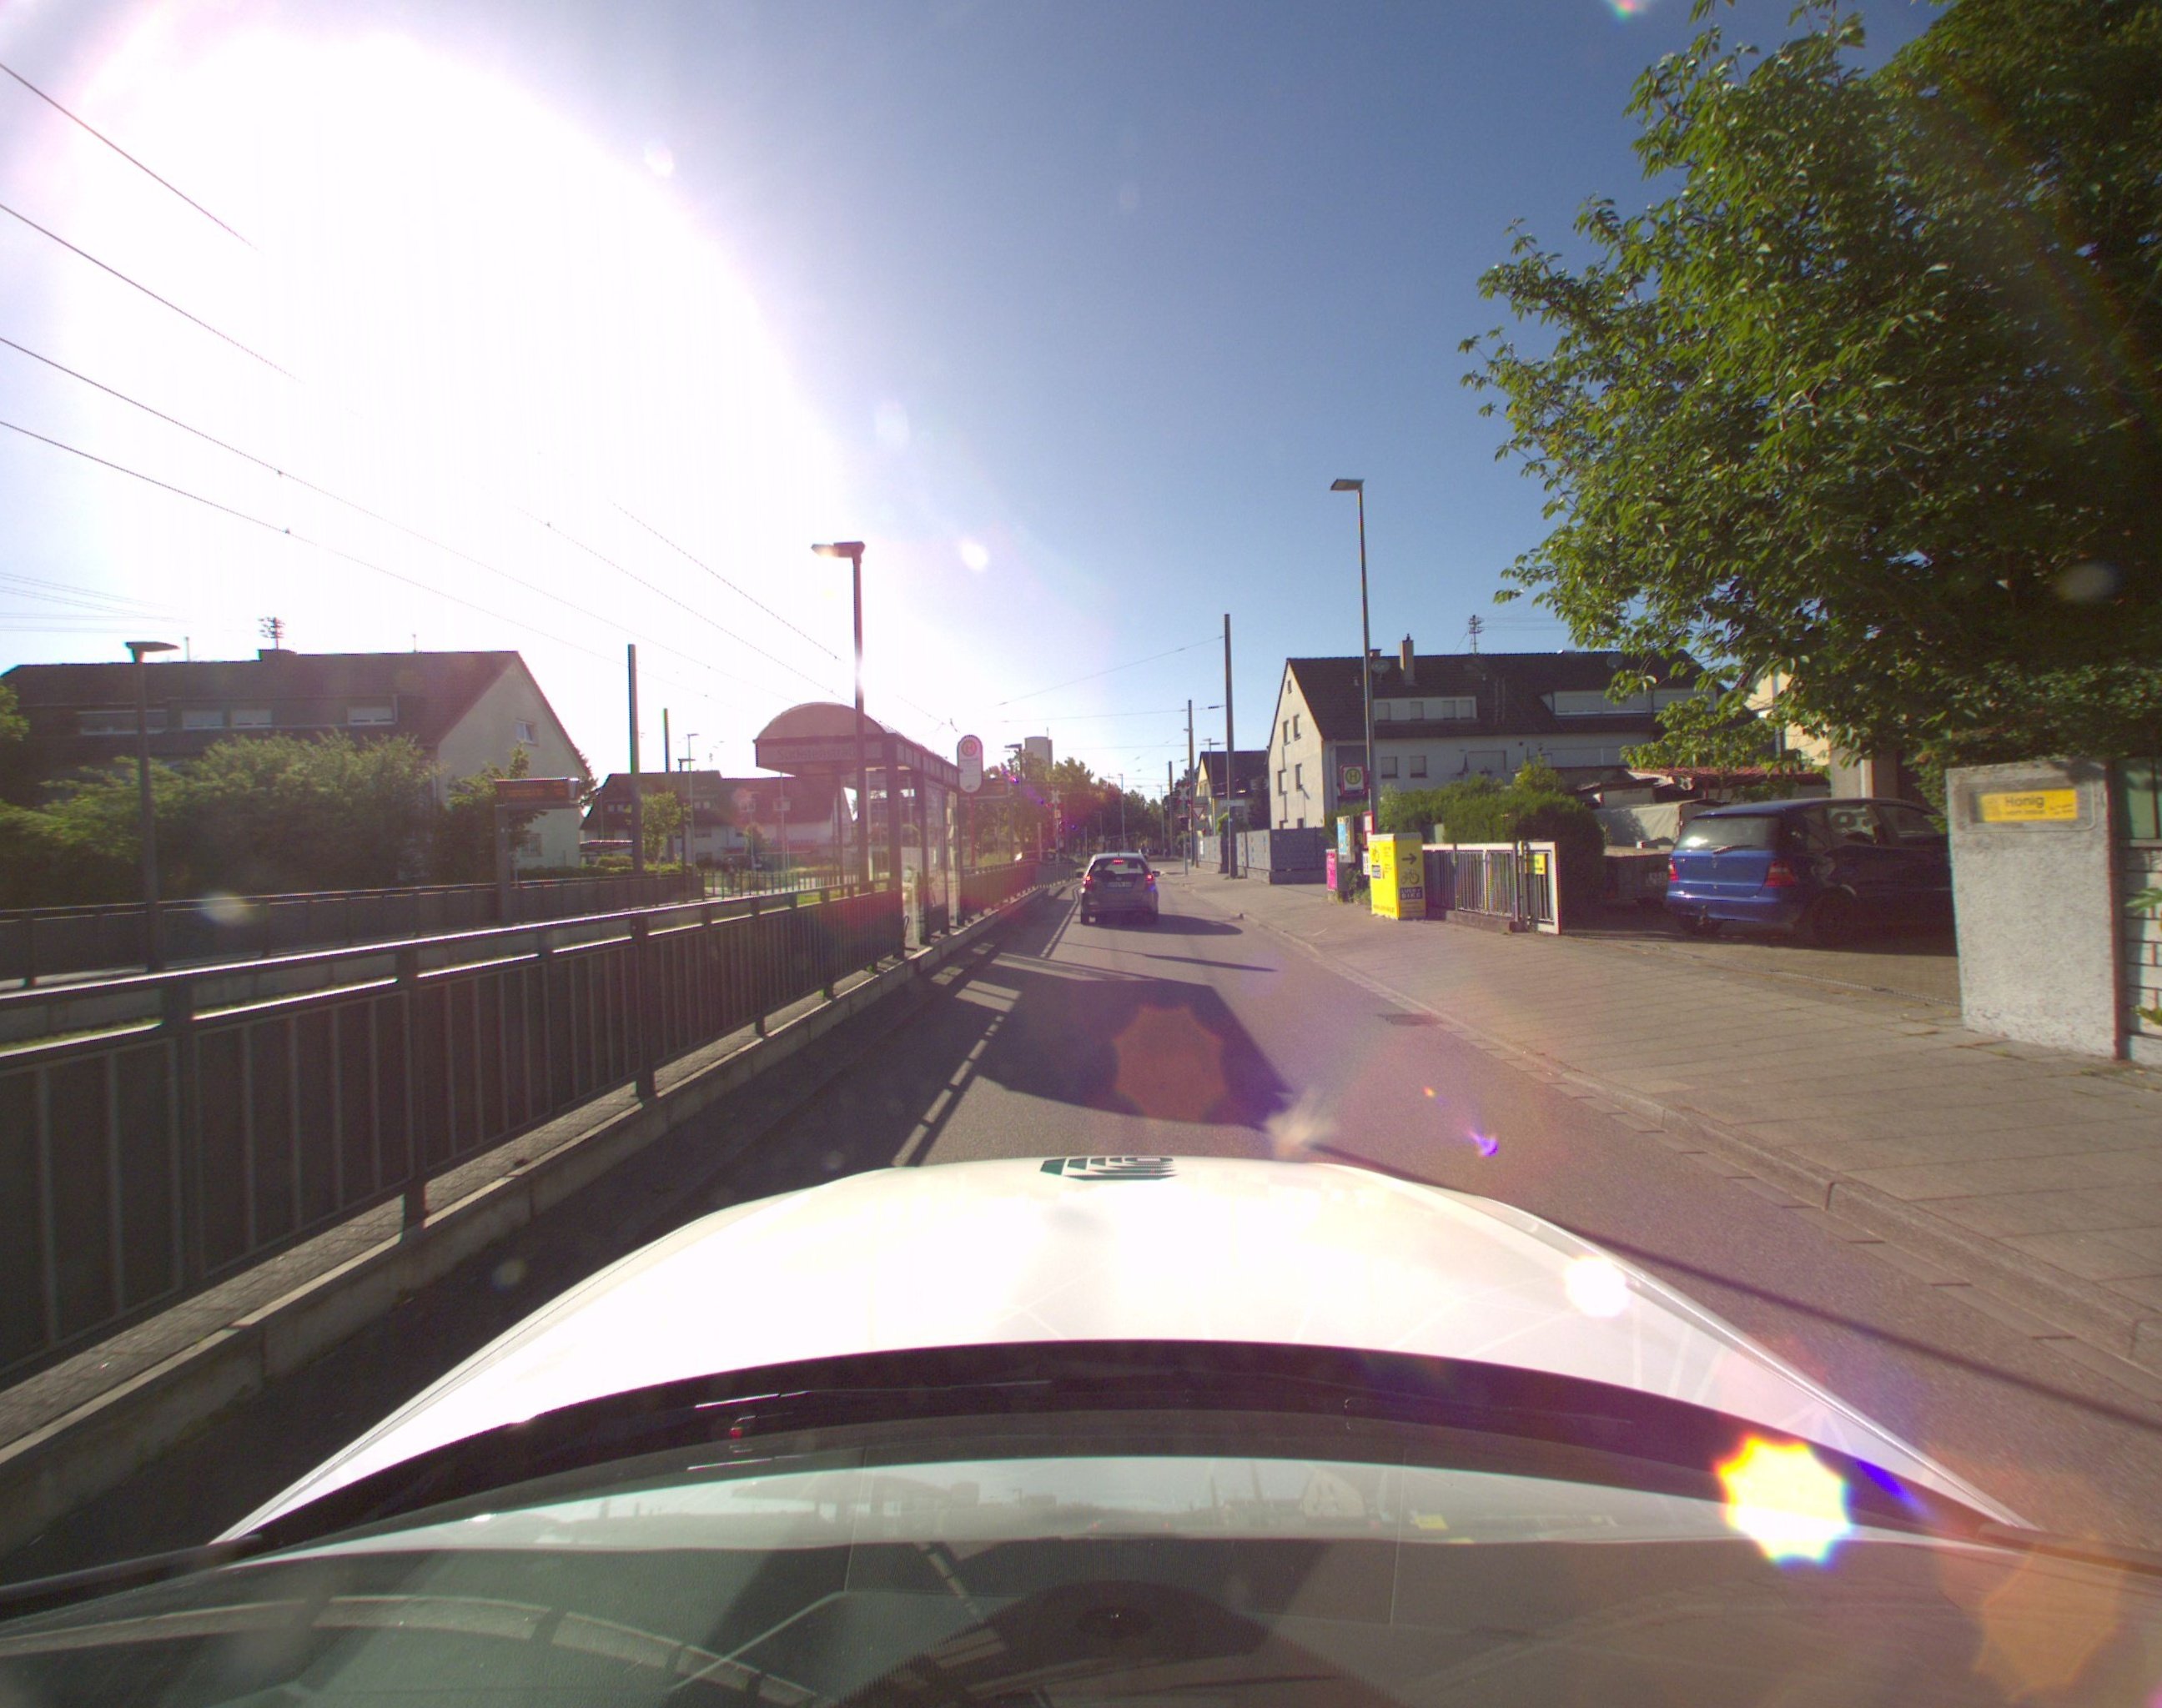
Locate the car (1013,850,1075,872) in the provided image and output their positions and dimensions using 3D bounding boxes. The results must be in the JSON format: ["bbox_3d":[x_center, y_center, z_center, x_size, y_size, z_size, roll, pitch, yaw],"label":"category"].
[{"bbox_3d":[-2.562,0.474,56.315,3.995,1.529,1.798,0,-1,-16],"label":"car"}]

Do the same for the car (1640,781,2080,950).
[{"bbox_3d":[8.991,0.101,9.564,3.758,1.569,1.747,-4,0,-8],"label":"car"}]

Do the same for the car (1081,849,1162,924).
[{"bbox_3d":[0.872,0.671,18.537,1.664,1.535,3.488,-1,0,1],"label":"car"}]

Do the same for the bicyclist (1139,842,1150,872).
[{"bbox_3d":[3.662,0.159,46.942,0.596,1.701,0.684,0,-1,2],"label":"bicyclist"}]

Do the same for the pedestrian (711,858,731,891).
[{"bbox_3d":[-19.929,1.135,45.065,0.726,1.762,0.772,-2,0,0],"label":"pedestrian"}]

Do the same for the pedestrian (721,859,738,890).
[{"bbox_3d":[-19.977,1.145,46.243,0.591,1.732,0.689,-2,0,0],"label":"pedestrian"}]

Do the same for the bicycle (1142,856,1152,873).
[{"bbox_3d":[3.806,0.600,47.012,0.473,0.961,1.658,0,-1,2],"label":"bicycle"}]
